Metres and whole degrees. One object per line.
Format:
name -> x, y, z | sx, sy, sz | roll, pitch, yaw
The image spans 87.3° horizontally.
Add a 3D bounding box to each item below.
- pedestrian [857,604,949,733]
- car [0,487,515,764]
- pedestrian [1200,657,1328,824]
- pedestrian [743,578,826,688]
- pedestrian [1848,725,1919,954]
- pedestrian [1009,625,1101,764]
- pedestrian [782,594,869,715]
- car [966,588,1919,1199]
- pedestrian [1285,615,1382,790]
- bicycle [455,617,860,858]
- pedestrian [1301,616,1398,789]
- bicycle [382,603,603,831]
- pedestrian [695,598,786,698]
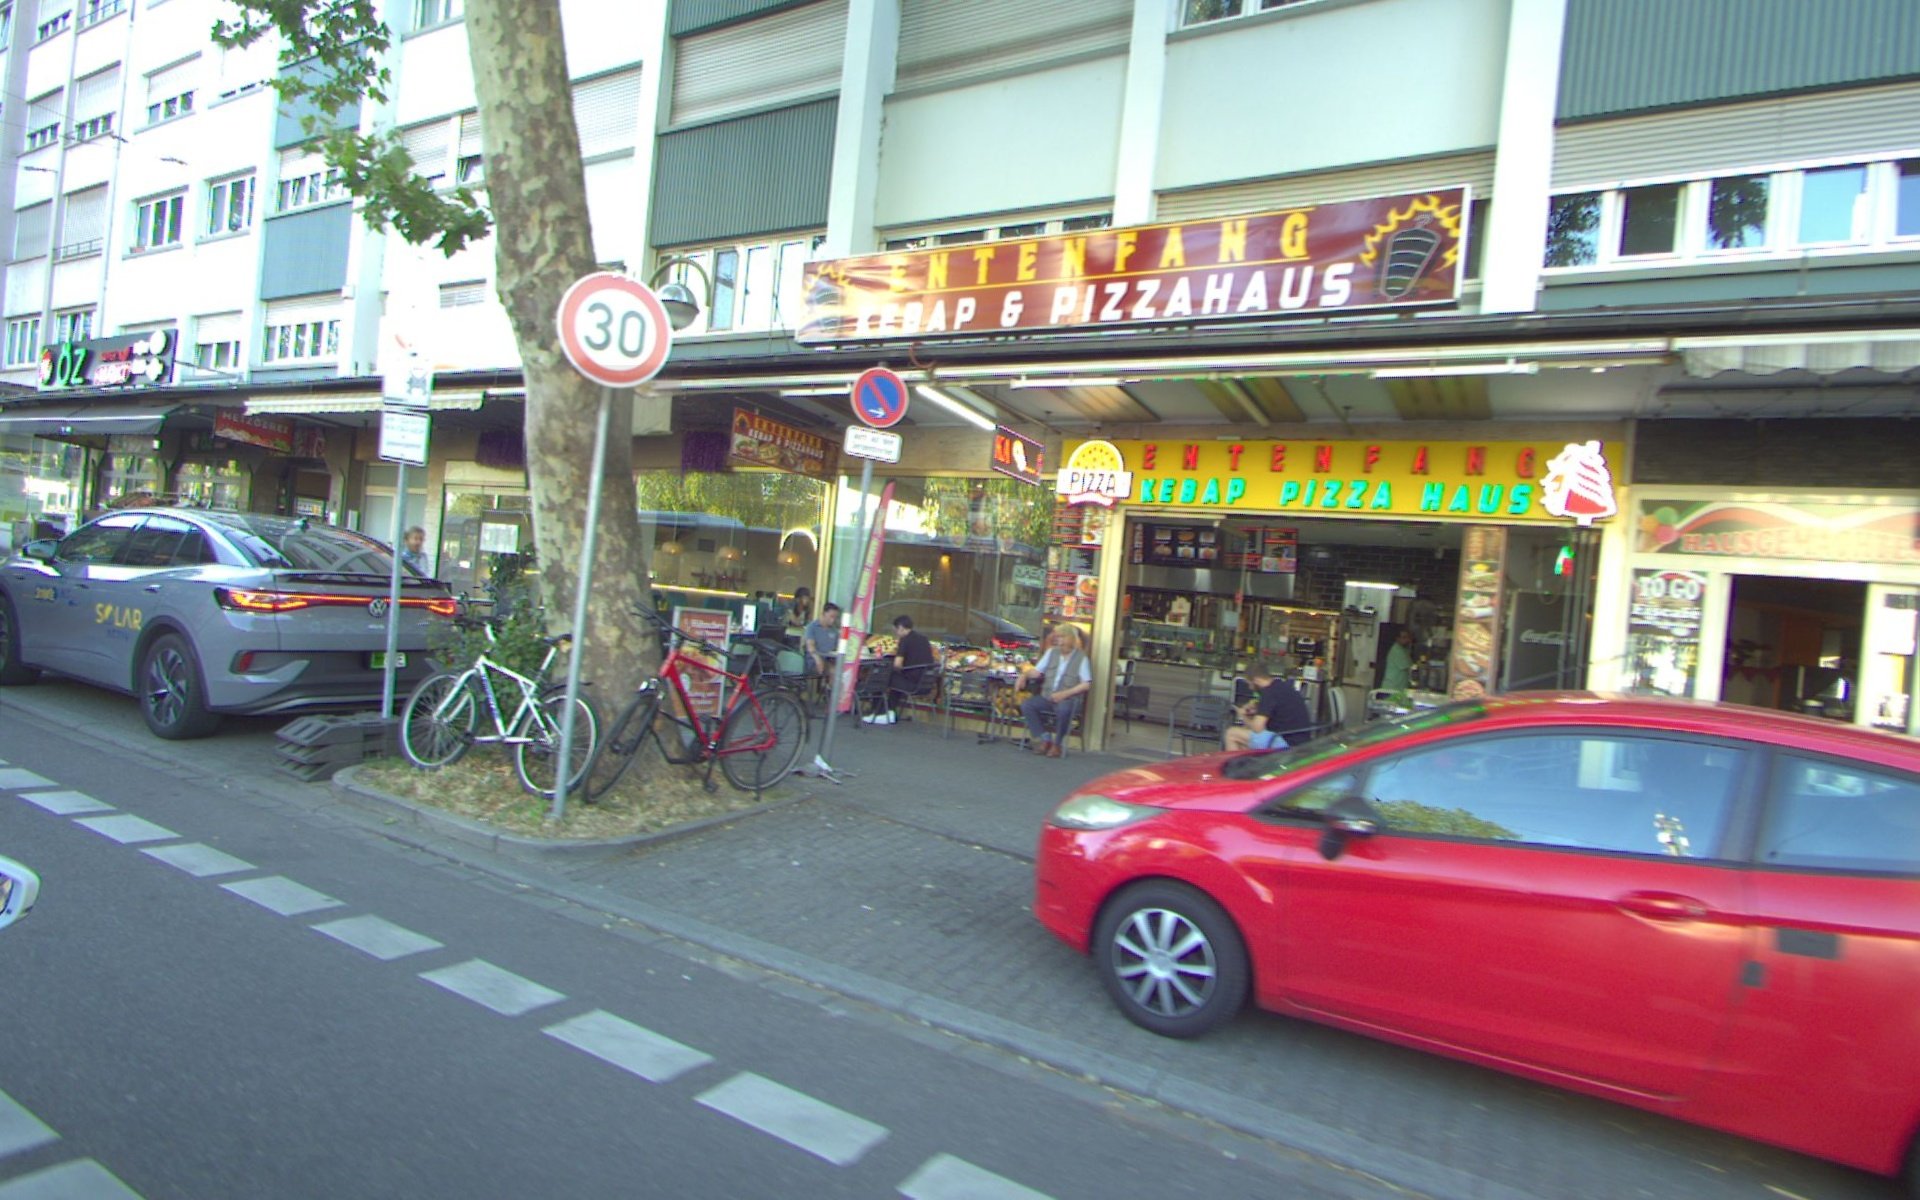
pedestrian -> -0.604, 0.714, 10.708 | 0.679, 1.261, 0.558 | 7, 2, 34
car -> -6.040, 0.071, 8.330 | 4.292, 1.603, 1.996 | 7, 2, 27
pedestrian -> 2.545, 1.136, 8.413 | 0.798, 1.225, 0.654 | 6, 2, 28
pedestrian -> -2.366, 0.442, 13.652 | 0.958, 1.350, 0.830 | 6, 0, -9
pedestrian -> 6.502, 1.560, 6.424 | 0.937, 1.352, 1.069 | 6, 0, 31
pedestrian -> 0.933, 0.898, 9.841 | 0.550, 1.252, 0.689 | 7, 2, 29
pedestrian -> -1.508, 0.604, 11.285 | 0.680, 1.261, 0.557 | 7, 2, 38
car -> 2.149, 0.936, 3.975 | 3.757, 1.617, 1.782 | 6, 3, 28
pedestrian -> 3.619, 0.972, 9.734 | 0.589, 1.566, 0.700 | 6, 0, 34
bicycle -> -1.723, 0.719, 6.137 | 0.547, 1.171, 2.377 | 6, 4, 44
pedestrian -> 3.796, 0.982, 9.796 | 0.589, 1.560, 0.700 | 6, 0, 34
bicycle -> -2.944, 0.676, 6.283 | 1.422, 1.169, 0.552 | 6, 0, 36
pedestrian -> -2.659, 0.577, 12.282 | 0.940, 1.094, 0.639 | 6, 0, -9
